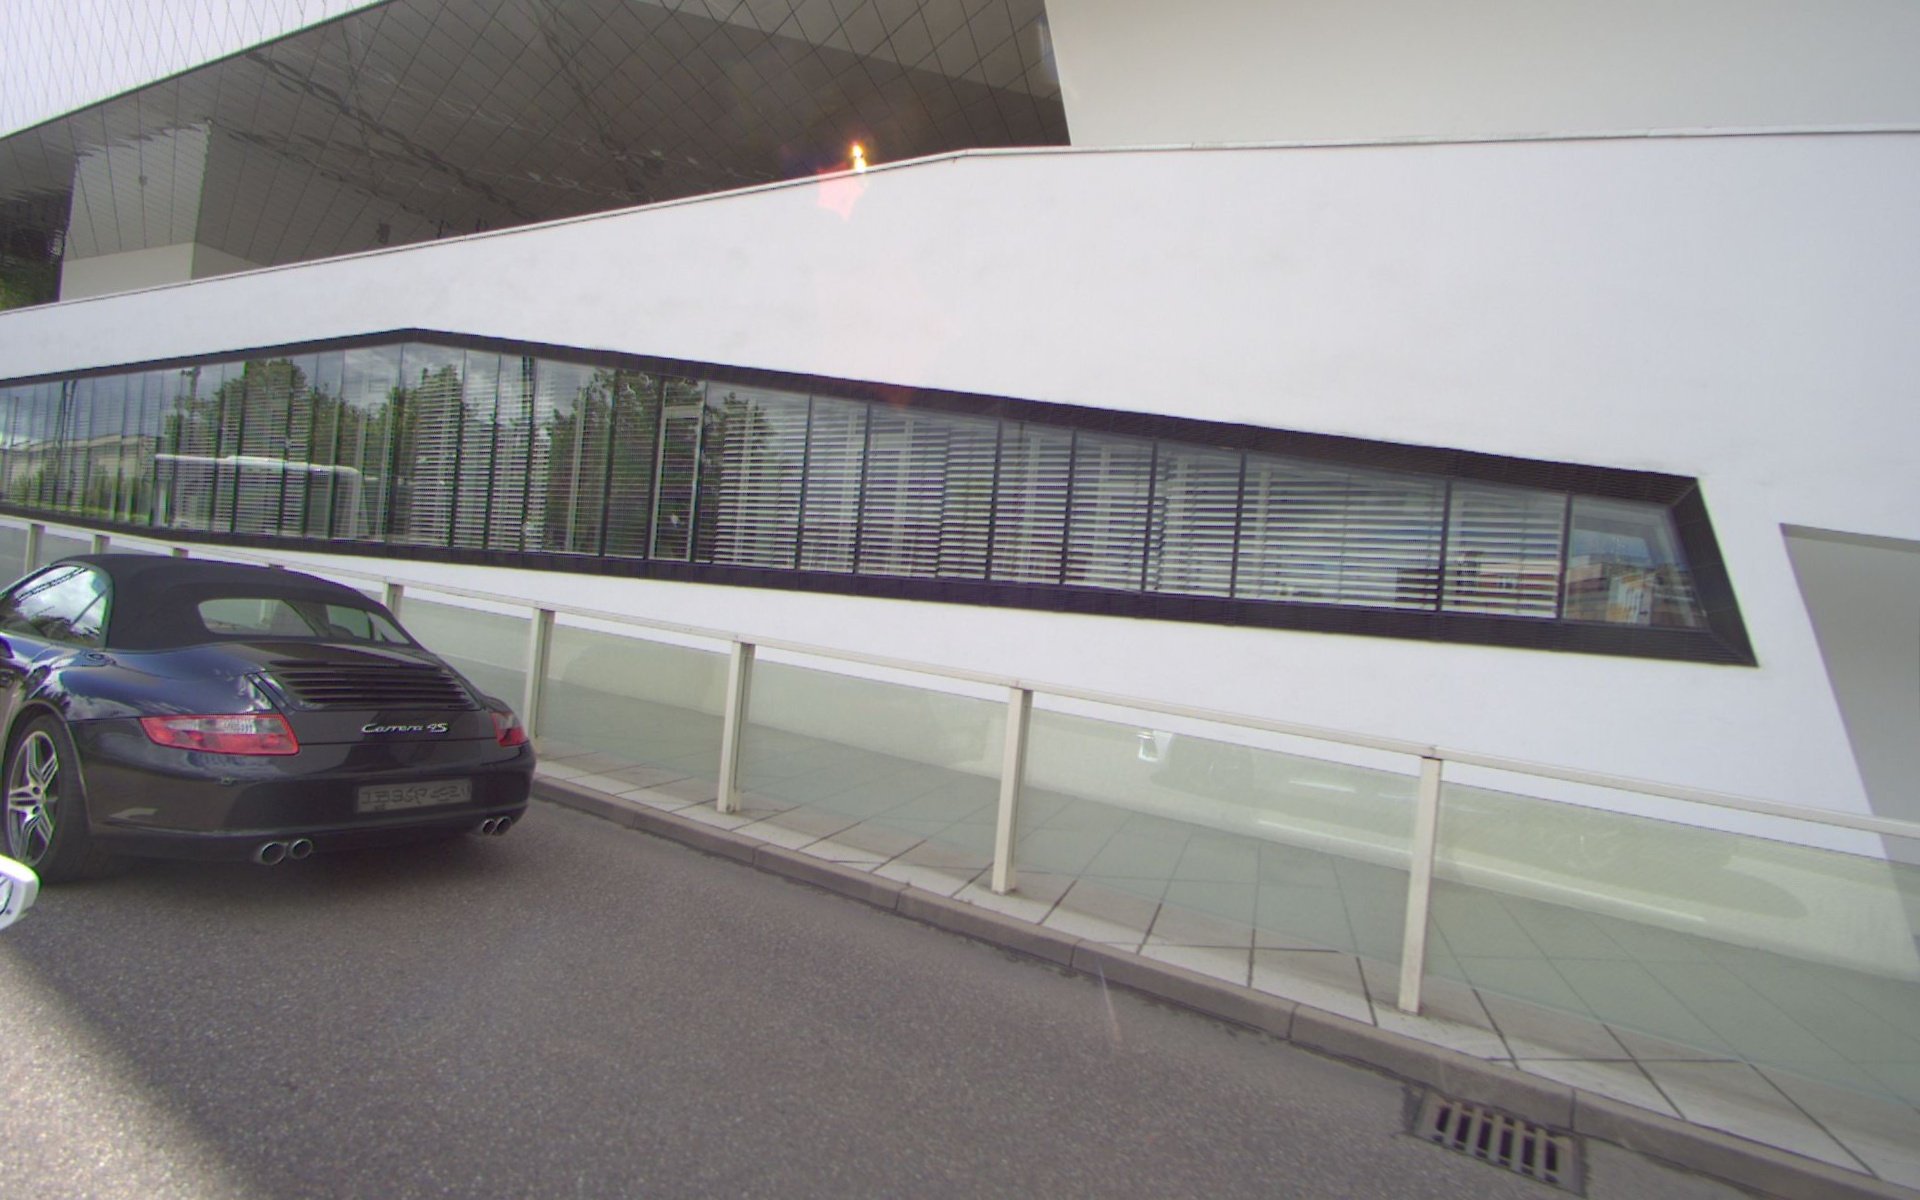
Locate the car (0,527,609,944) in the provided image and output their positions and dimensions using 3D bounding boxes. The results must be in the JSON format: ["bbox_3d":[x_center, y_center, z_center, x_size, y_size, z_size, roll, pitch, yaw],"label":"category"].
[{"bbox_3d":[-3.927,0.419,5.214,4.020,1.290,1.723,6,-1,31],"label":"car"}]
